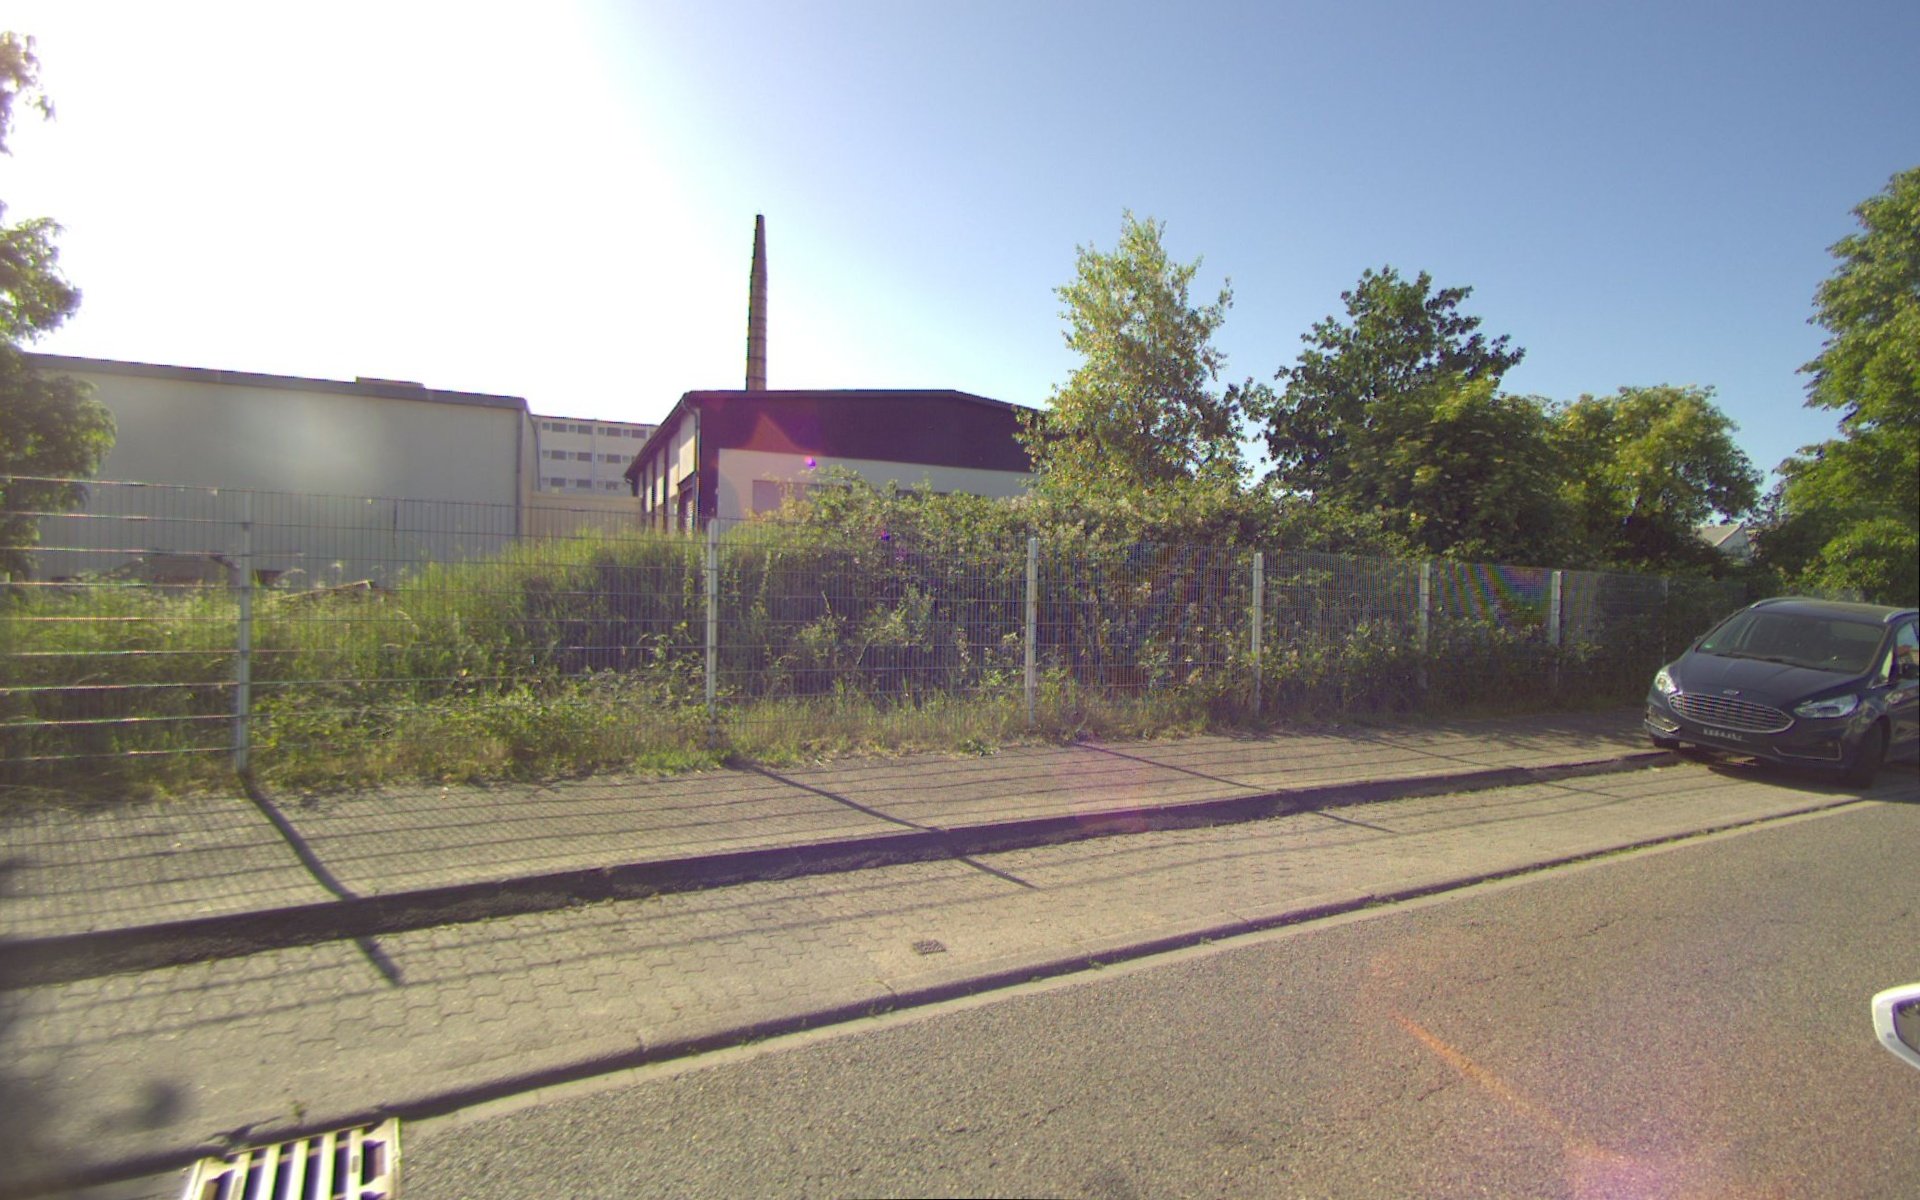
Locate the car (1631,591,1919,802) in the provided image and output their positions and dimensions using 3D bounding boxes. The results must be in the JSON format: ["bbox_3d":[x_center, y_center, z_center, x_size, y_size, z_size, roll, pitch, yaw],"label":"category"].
[{"bbox_3d":[9.362,0.874,10.917,4.754,1.754,1.779,1,4,-35],"label":"car"}]
